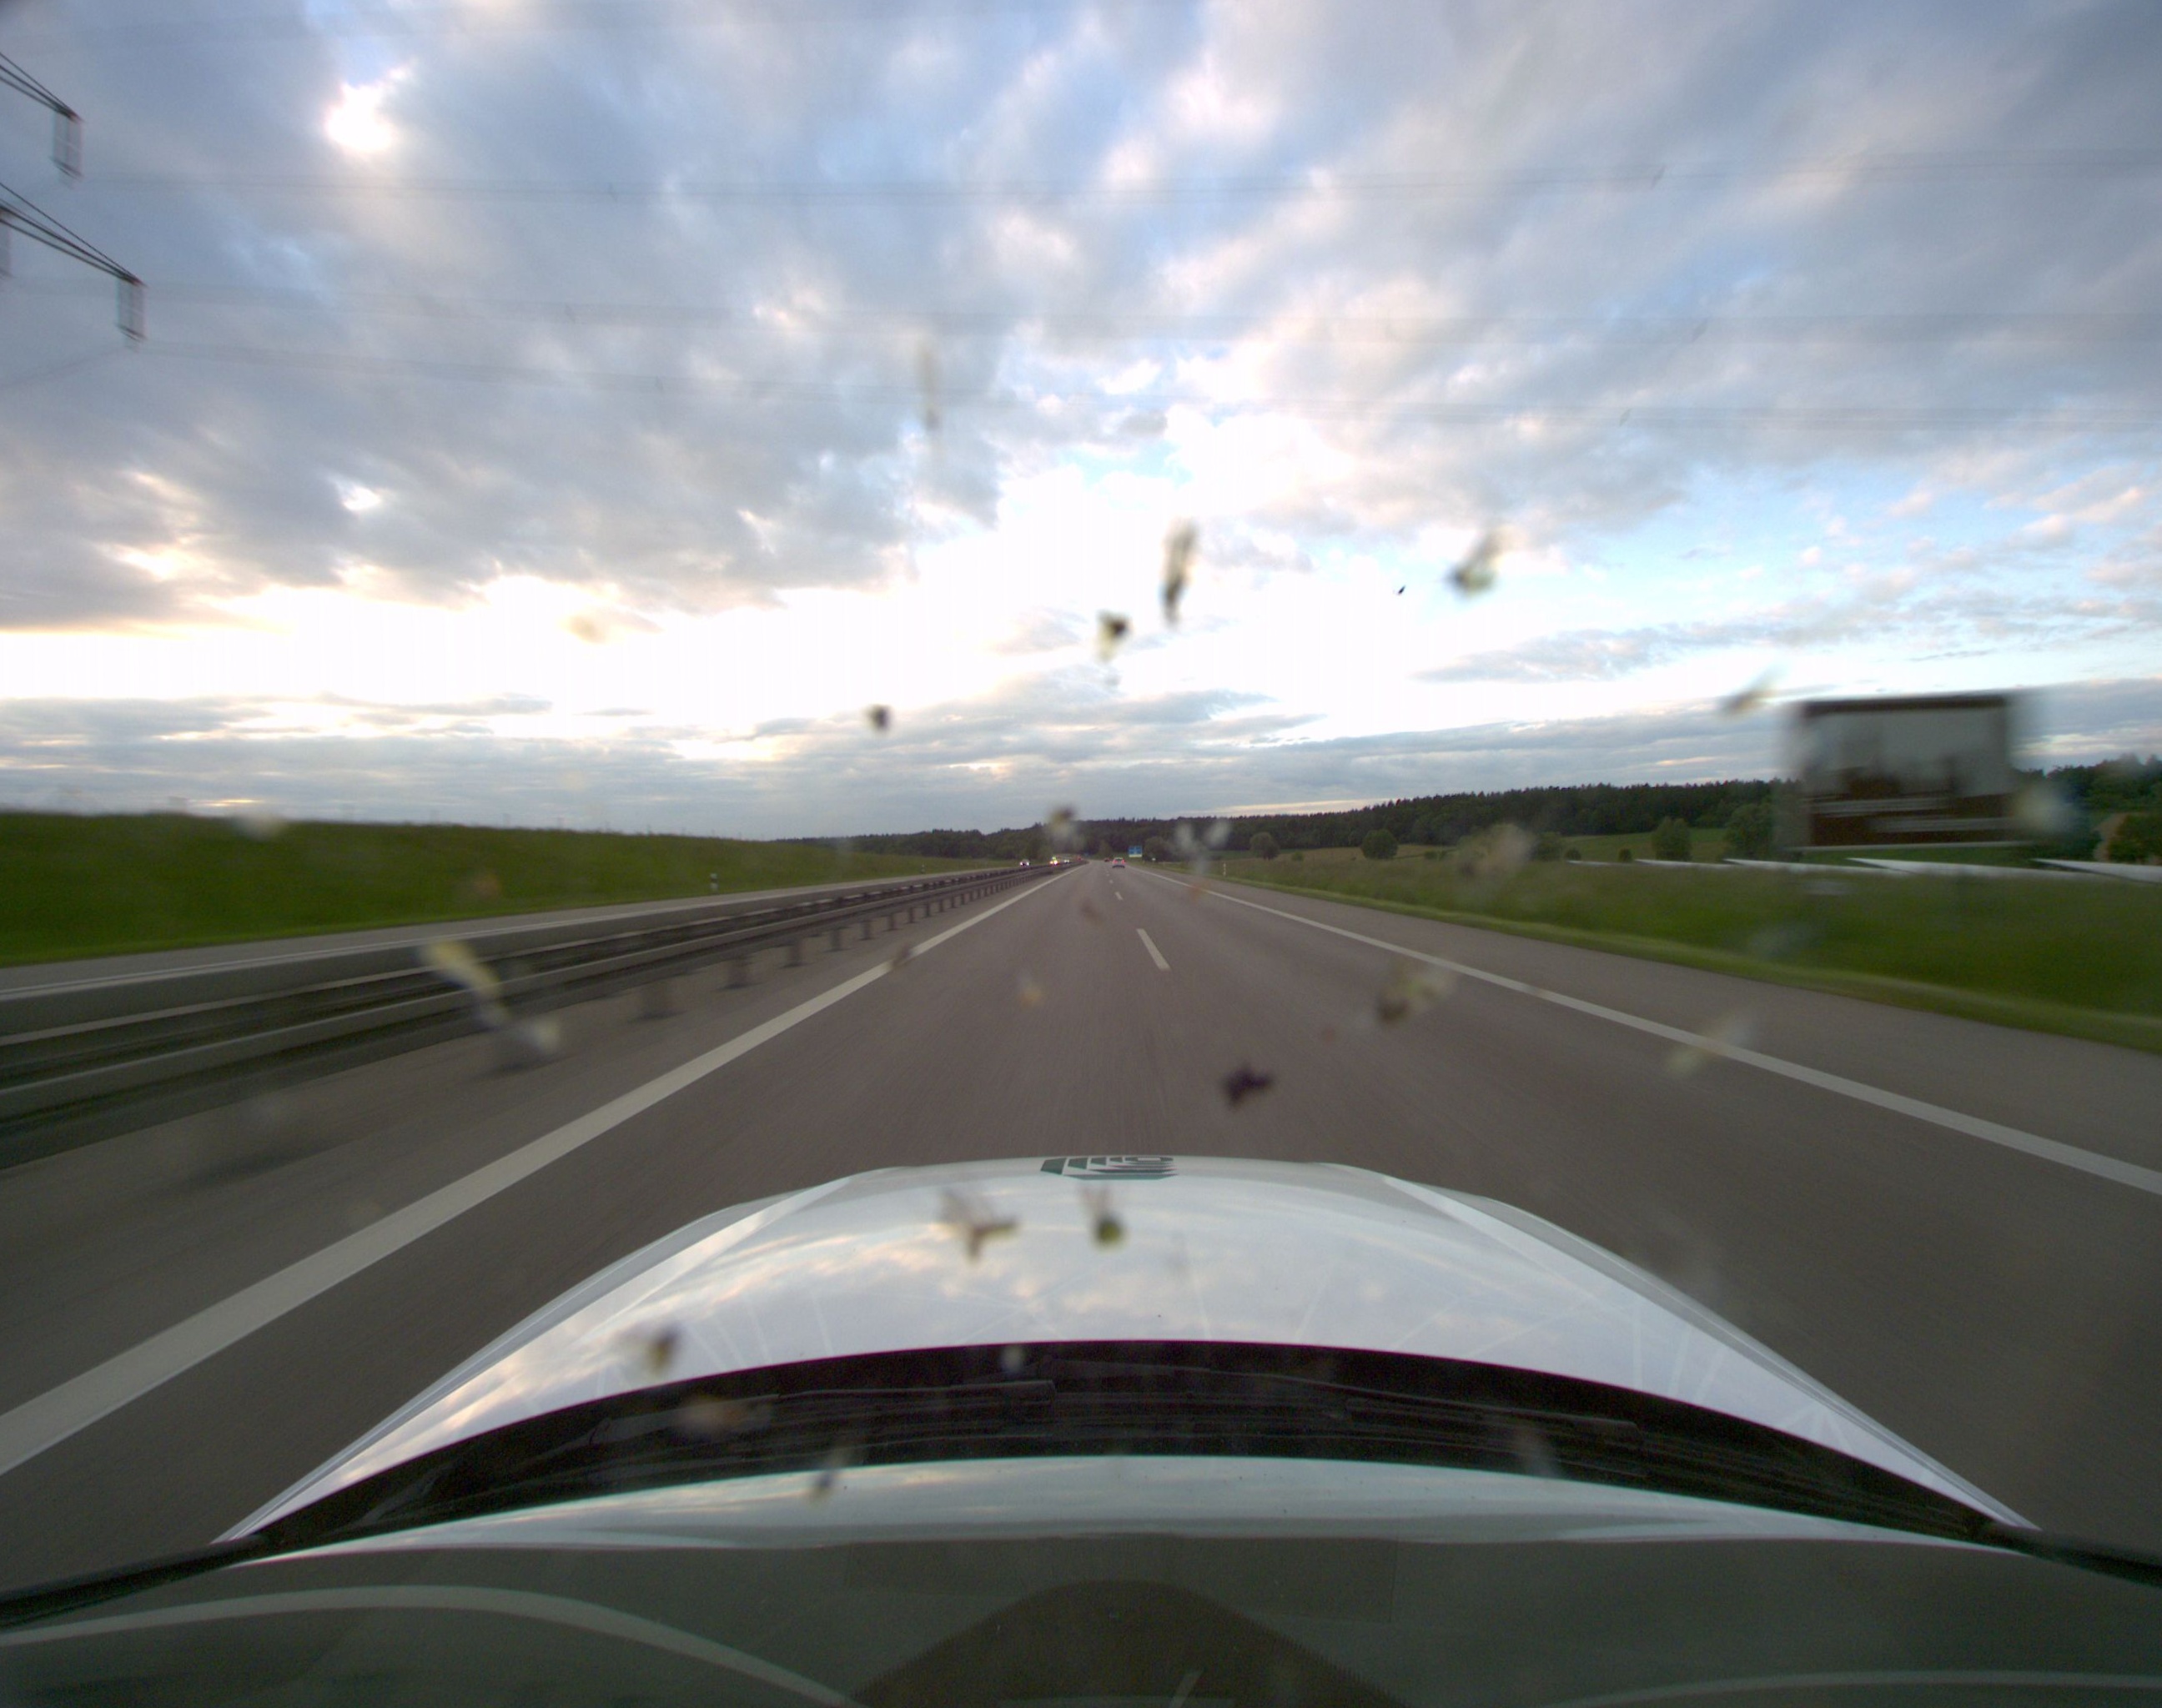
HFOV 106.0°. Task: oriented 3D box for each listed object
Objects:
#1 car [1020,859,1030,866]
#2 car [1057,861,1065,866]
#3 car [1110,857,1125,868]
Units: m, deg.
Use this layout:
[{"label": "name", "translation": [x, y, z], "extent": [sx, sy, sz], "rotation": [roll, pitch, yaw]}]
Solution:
[{"label": "car", "translation": [-10.749, 1.649, 157.501], "extent": [1.522, 1.433, 4.435], "rotation": [0, 0, 1]}, {"label": "car", "translation": [-5.300, 2.545, 217.535], "extent": [1.732, 1.456, 5.124], "rotation": [0, 0, 2]}, {"label": "car", "translation": [5.312, 1.211, 119.121], "extent": [1.946, 1.531, 4.079], "rotation": [0, 0, -1]}]
